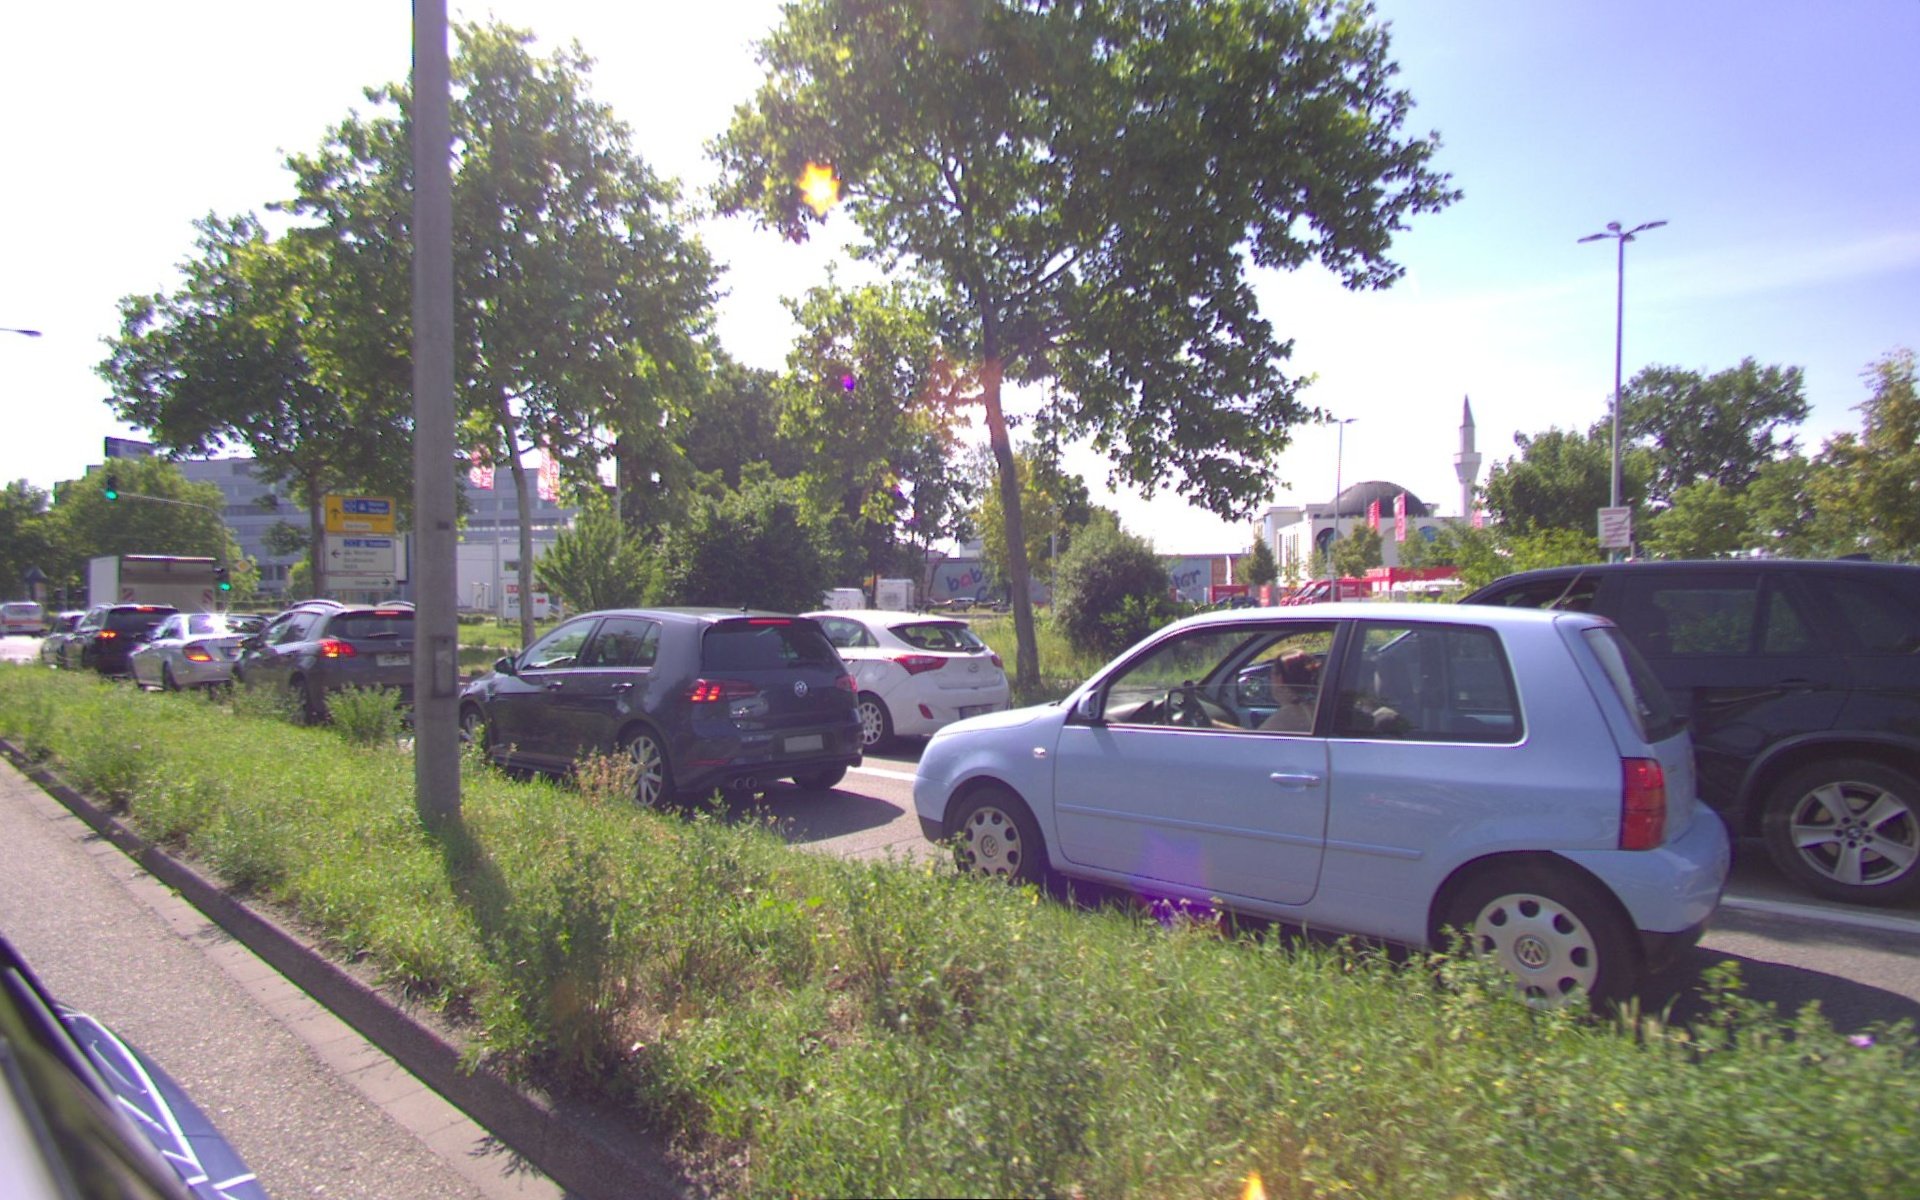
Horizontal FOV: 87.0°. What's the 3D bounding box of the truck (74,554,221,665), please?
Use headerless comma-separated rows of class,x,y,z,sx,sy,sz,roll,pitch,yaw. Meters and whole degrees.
truck,-28.142,0.398,34.954,6.687,3.498,2.775,-2,-2,41

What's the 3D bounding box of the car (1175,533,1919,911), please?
car,3.907,0.571,6.298,4.764,1.750,1.803,0,0,40

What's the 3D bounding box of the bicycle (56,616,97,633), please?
bicycle,-57.750,1.597,66.197,0.520,1.072,2.158,-1,0,11

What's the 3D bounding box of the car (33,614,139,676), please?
car,-22.658,1.123,26.192,3.727,1.488,1.576,-1,-1,41

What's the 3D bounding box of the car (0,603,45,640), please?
car,-53.711,1.250,57.517,5.029,2.015,1.955,-1,-2,41

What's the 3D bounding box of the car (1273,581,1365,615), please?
car,28.050,-0.137,79.352,6.365,2.548,2.382,-1,0,9

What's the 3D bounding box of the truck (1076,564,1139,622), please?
truck,9.087,-0.402,63.366,3.119,3.336,8.915,-1,0,3

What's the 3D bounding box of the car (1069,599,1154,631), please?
car,7.815,0.765,52.631,4.226,1.584,1.819,-1,0,5

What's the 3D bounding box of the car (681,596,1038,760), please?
car,-1.257,0.785,11.473,4.081,1.542,1.672,-1,-2,40

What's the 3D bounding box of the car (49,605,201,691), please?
car,-18.087,0.946,21.844,4.692,1.659,1.801,0,-1,41

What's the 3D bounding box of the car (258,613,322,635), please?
car,-48.944,1.751,74.030,1.824,1.460,3.994,-1,0,5

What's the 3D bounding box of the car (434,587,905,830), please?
car,-2.532,0.720,8.240,4.216,1.485,1.671,-1,-2,41

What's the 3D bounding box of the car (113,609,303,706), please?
car,-13.236,0.928,17.712,4.521,1.479,1.778,-1,-1,42

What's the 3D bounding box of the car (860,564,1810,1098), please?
car,1.451,0.681,4.718,3.812,1.483,1.671,-1,-1,41

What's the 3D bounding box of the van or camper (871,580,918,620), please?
van or camper,-5.262,-0.029,82.584,2.679,3.124,6.313,-1,0,6

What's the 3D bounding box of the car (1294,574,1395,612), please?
car,27.534,-0.478,72.735,6.365,2.548,2.382,-1,0,9

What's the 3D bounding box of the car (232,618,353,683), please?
car,-16.142,1.167,24.431,3.543,1.463,1.548,-1,-2,41

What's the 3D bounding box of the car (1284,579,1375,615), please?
car,27.783,-0.209,76.300,6.056,2.548,2.382,-1,0,9

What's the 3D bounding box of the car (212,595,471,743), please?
car,-8.068,0.794,13.040,4.238,1.599,1.671,-1,-1,41

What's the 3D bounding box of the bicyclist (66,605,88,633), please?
bicyclist,-57.735,1.256,66.173,0.698,1.802,0.765,-1,0,11

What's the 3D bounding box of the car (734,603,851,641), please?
car,-6.769,0.860,41.341,2.195,1.424,4.525,-1,0,34

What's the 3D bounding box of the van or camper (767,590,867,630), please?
van or camper,-8.376,0.596,59.713,5.453,2.226,2.191,-1,0,8
